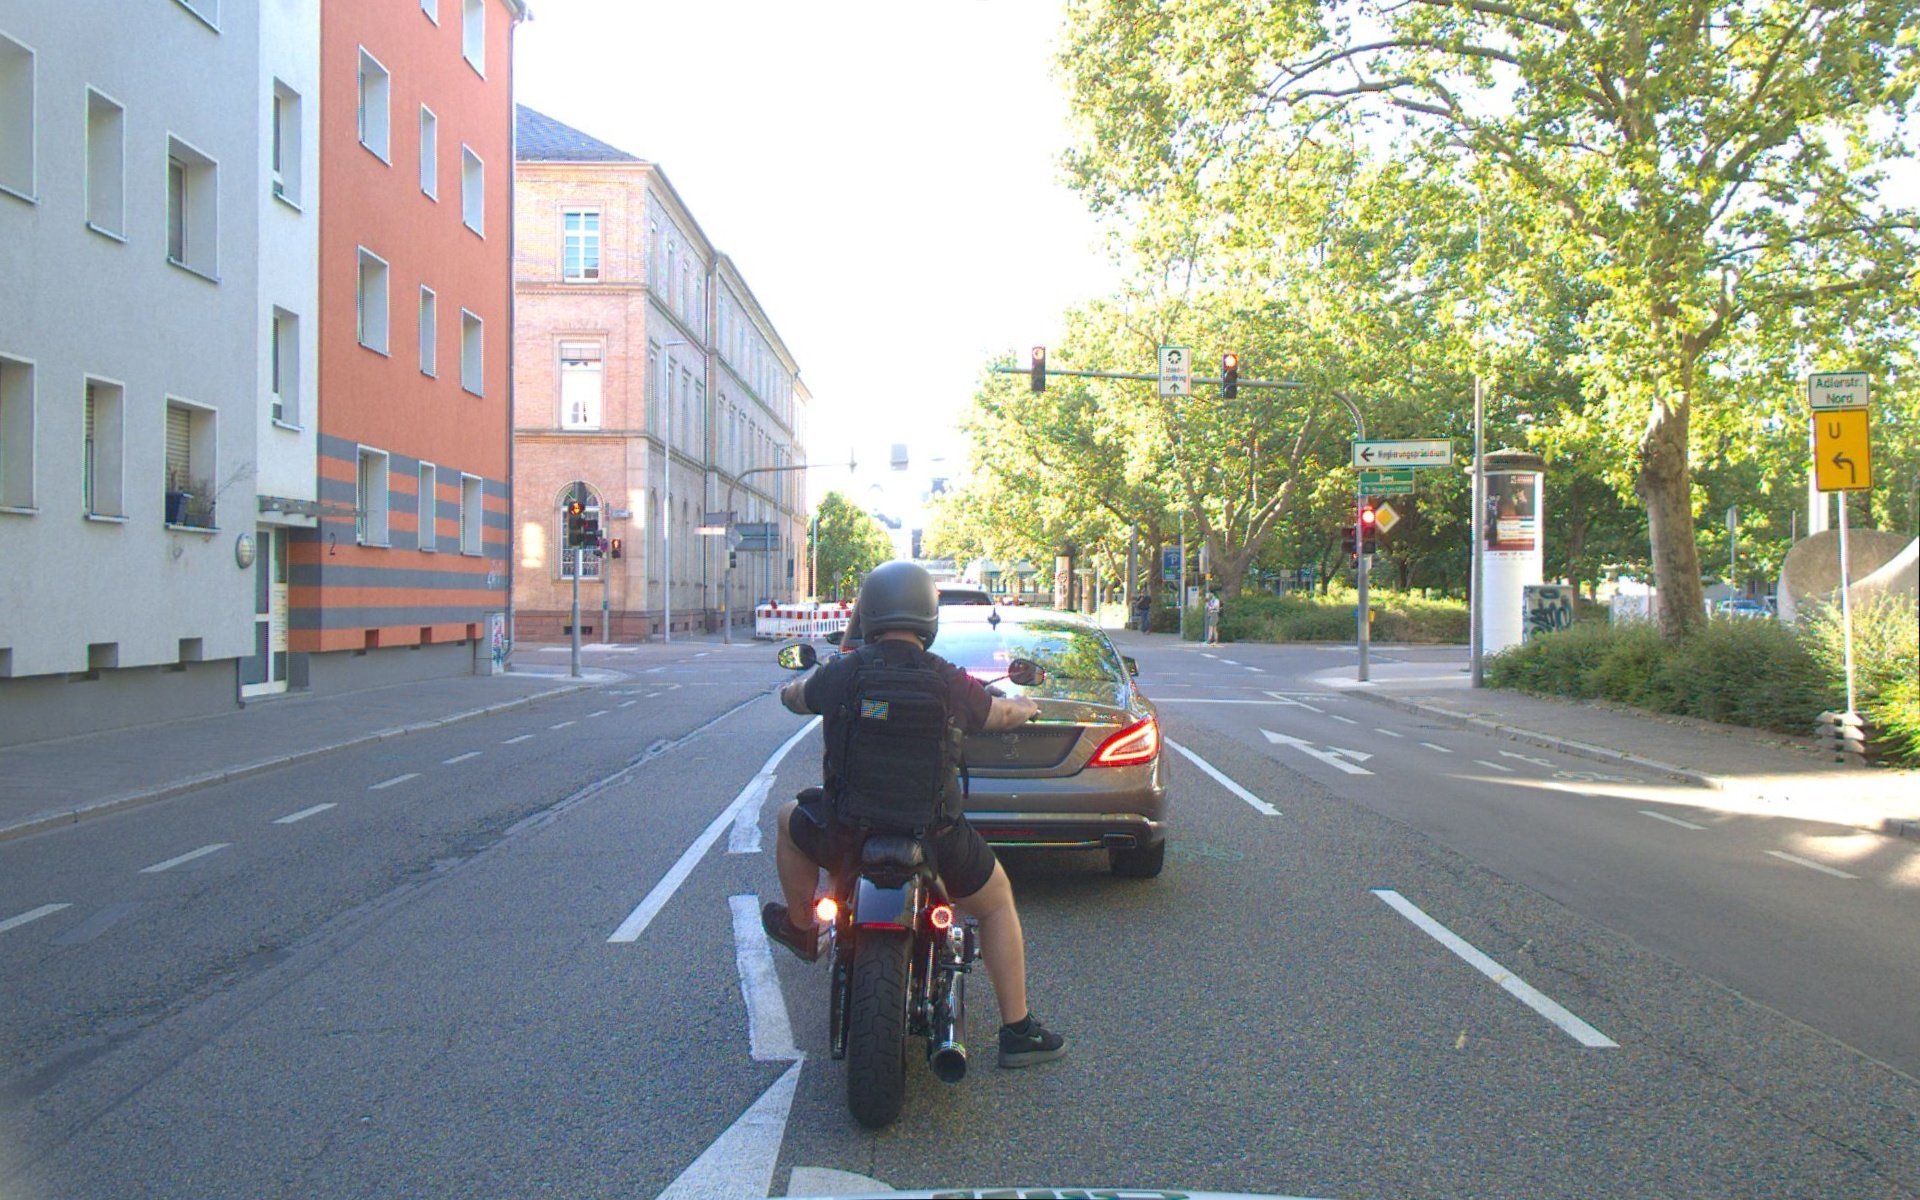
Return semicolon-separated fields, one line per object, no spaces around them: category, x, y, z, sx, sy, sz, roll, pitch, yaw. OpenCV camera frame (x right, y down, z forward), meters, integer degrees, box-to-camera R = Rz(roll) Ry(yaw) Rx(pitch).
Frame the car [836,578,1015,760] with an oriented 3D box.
car;-0.332;0.605;16.723;1.588;1.622;3.999;0;0;-1

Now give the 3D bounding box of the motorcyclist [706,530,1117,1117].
motorcyclist;-0.143;0.630;5.276;1.125;1.626;1.288;1;0;-1

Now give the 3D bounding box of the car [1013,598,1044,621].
car;4.317;0.581;104.942;1.740;1.453;3.801;0;0;-1

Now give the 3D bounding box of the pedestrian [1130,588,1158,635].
pedestrian;7.641;0.465;68.550;0.741;1.943;0.917;1;-1;-29

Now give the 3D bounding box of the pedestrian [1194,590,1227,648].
pedestrian;8.135;0.611;53.737;0.980;1.858;1.077;1;0;5

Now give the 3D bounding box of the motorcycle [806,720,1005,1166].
motorcycle;-0.157;0.969;5.325;0.503;1.020;2.013;1;0;-1

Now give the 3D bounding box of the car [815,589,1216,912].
car;0.234;0.693;9.614;1.844;1.475;3.819;1;0;-1

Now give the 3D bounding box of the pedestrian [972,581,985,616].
pedestrian;1.115;-0.091;100.808;0.748;2.087;0.712;1;-1;-1
